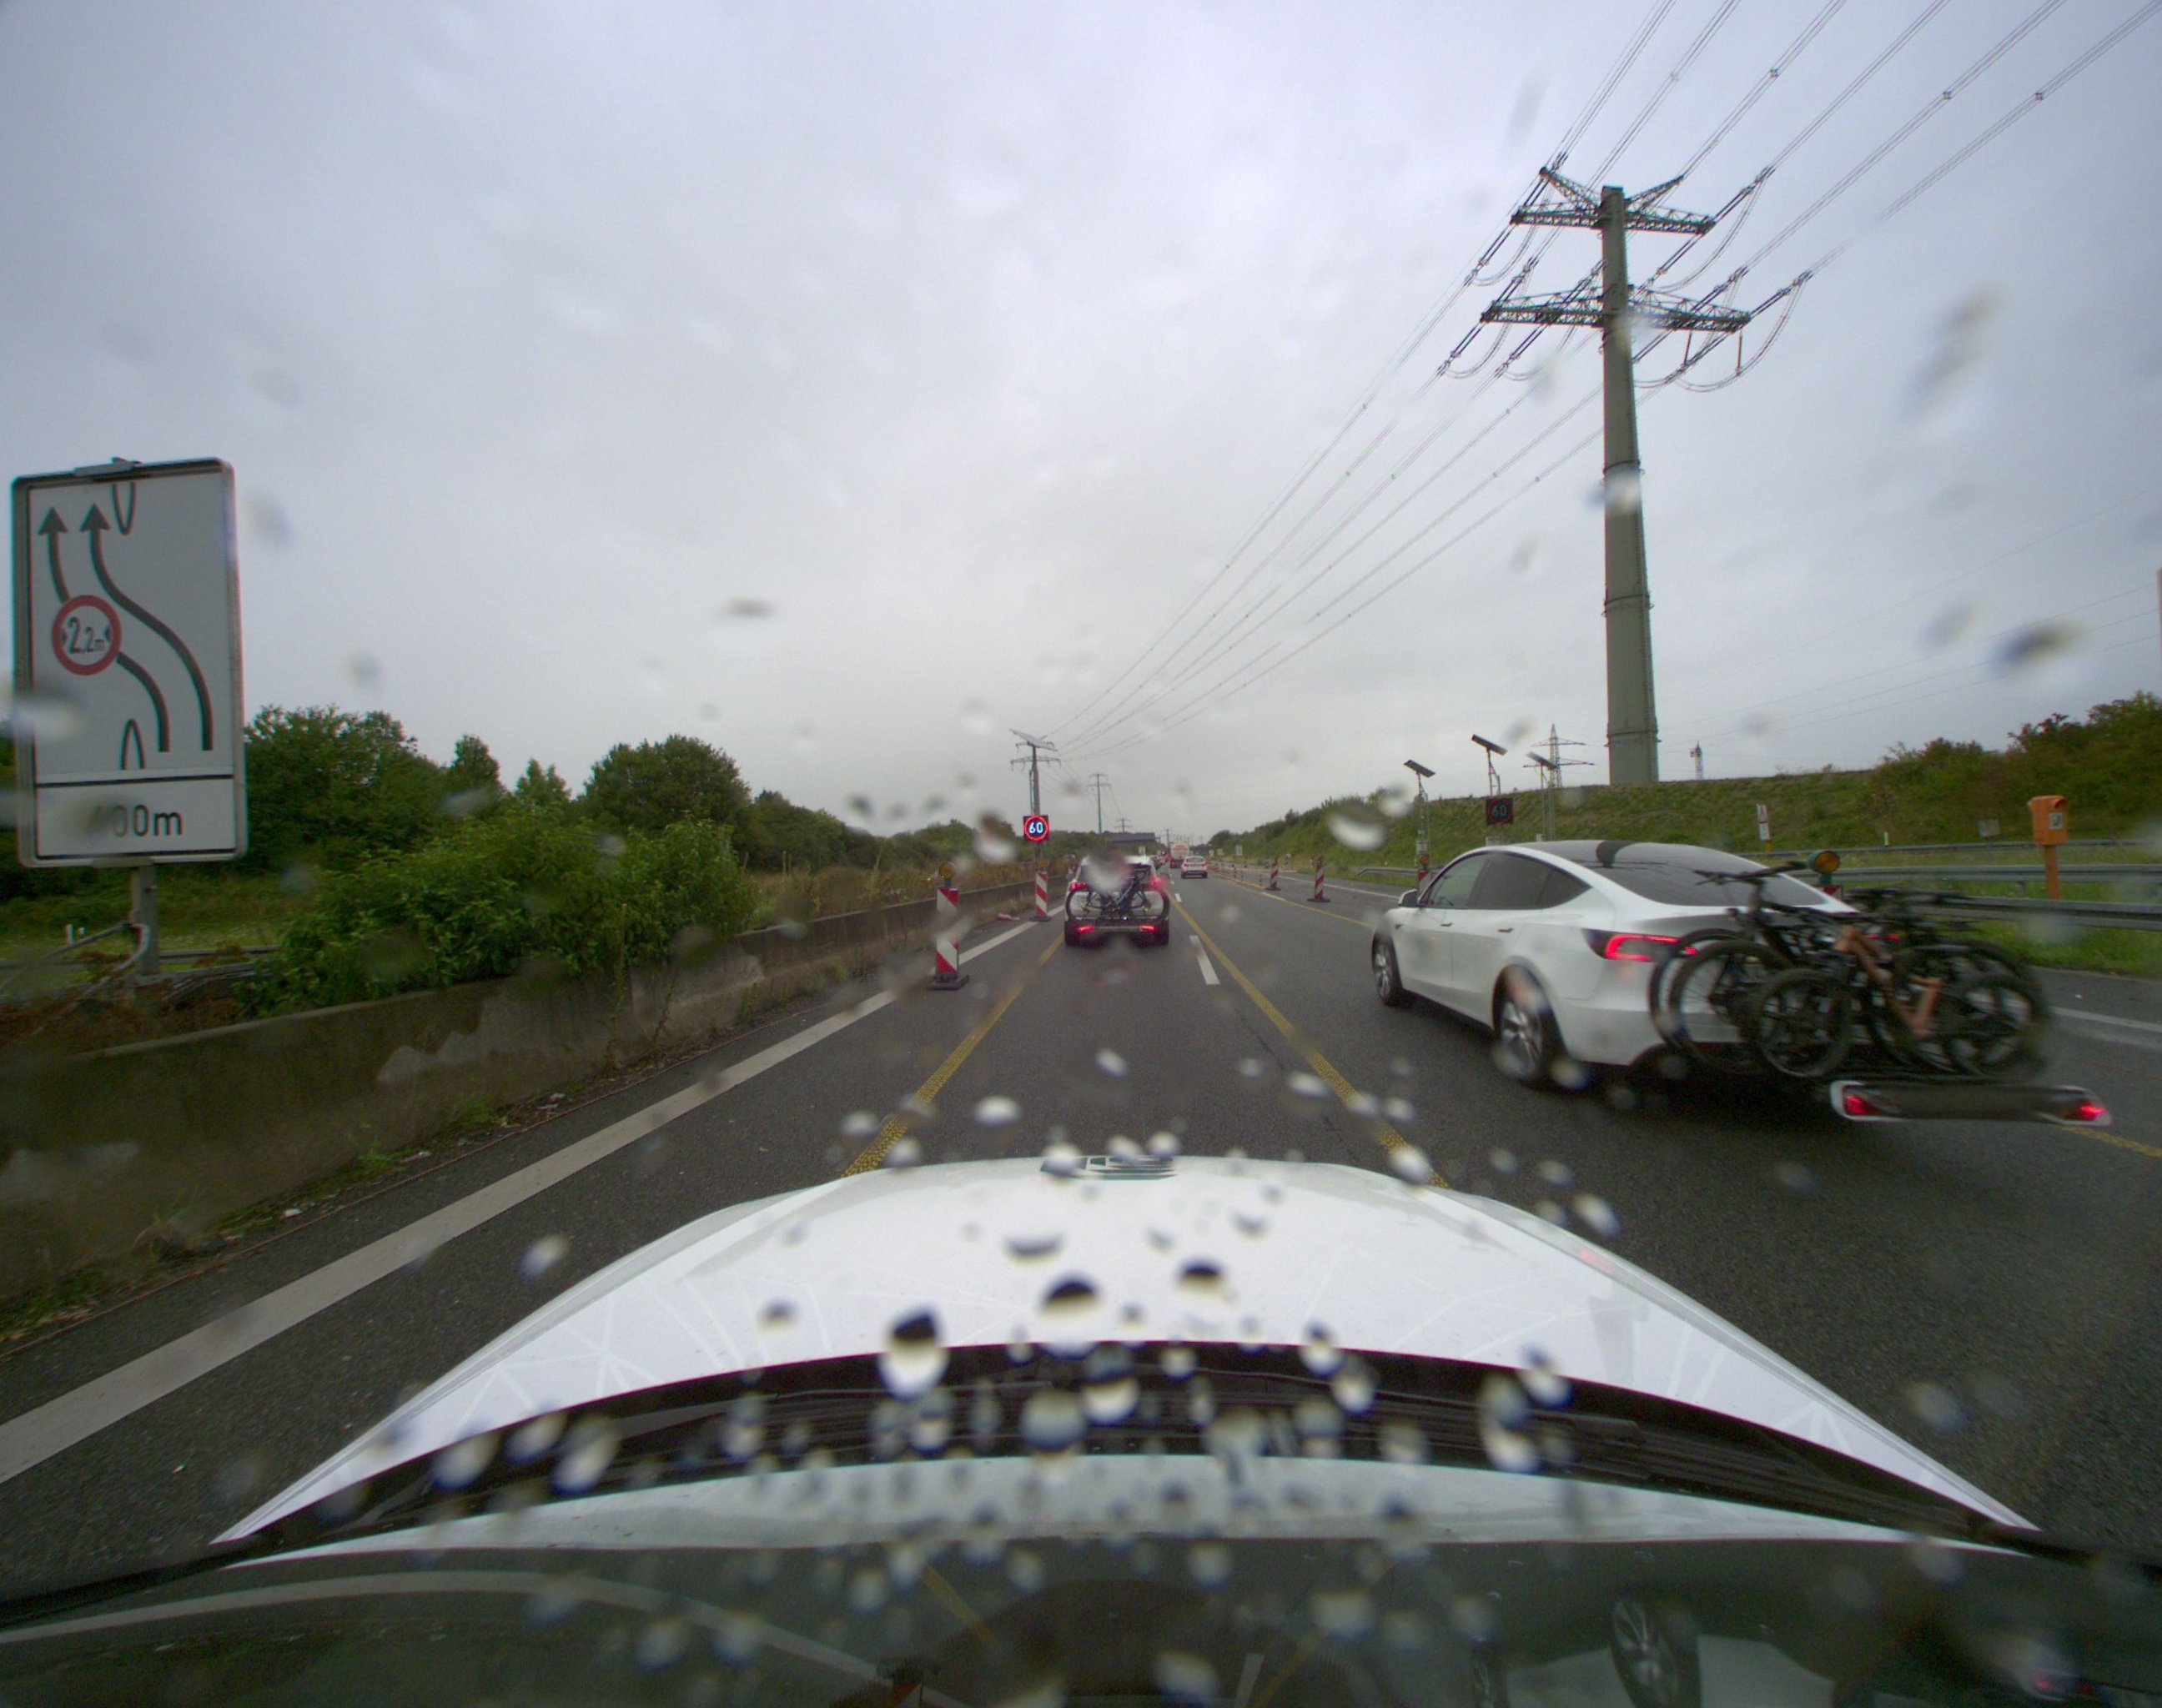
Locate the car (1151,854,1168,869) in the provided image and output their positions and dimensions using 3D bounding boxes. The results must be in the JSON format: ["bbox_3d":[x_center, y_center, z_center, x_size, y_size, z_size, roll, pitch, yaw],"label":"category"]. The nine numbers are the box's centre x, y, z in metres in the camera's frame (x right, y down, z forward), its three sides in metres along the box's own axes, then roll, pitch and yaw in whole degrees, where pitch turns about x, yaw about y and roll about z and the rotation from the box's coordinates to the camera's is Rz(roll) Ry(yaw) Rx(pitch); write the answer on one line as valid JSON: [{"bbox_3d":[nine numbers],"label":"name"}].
[{"bbox_3d":[10.595,1.047,110.185,1.985,2.014,4.003,0,-1,3],"label":"car"}]

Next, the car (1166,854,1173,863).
[{"bbox_3d":[21.603,1.096,197.855,1.645,2.014,4.008,-1,0,7],"label":"car"}]

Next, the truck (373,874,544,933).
[{"bbox_3d":[-31.172,2.424,41.094,1.974,2.428,6.475,-3,0,33],"label":"truck"}]

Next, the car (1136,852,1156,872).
[{"bbox_3d":[7.081,0.852,89.434,1.985,2.013,4.003,-3,0,3],"label":"car"}]

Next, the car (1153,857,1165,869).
[{"bbox_3d":[14.436,1.672,150.144,1.985,2.014,4.002,0,-1,3],"label":"car"}]

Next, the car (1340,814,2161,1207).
[{"bbox_3d":[3.804,0.658,6.231,2.037,1.596,5.805,0,0,3],"label":"car"}]

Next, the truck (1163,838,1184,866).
[{"bbox_3d":[13.111,-0.228,115.306,2.634,3.891,4.032,0,-1,2],"label":"truck"}]

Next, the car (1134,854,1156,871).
[{"bbox_3d":[6.058,0.795,77.378,1.985,1.584,4.003,-1,0,3],"label":"car"}]

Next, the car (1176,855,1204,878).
[{"bbox_3d":[7.707,0.849,57.859,1.860,1.535,4.204,-1,0,6],"label":"car"}]

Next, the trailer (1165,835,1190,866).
[{"bbox_3d":[12.803,-0.332,108.896,2.627,3.893,10.549,0,-1,3],"label":"trailer"}]

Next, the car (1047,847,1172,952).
[{"bbox_3d":[0.640,0.716,14.888,1.919,1.611,4.601,-1,0,5],"label":"car"}]
